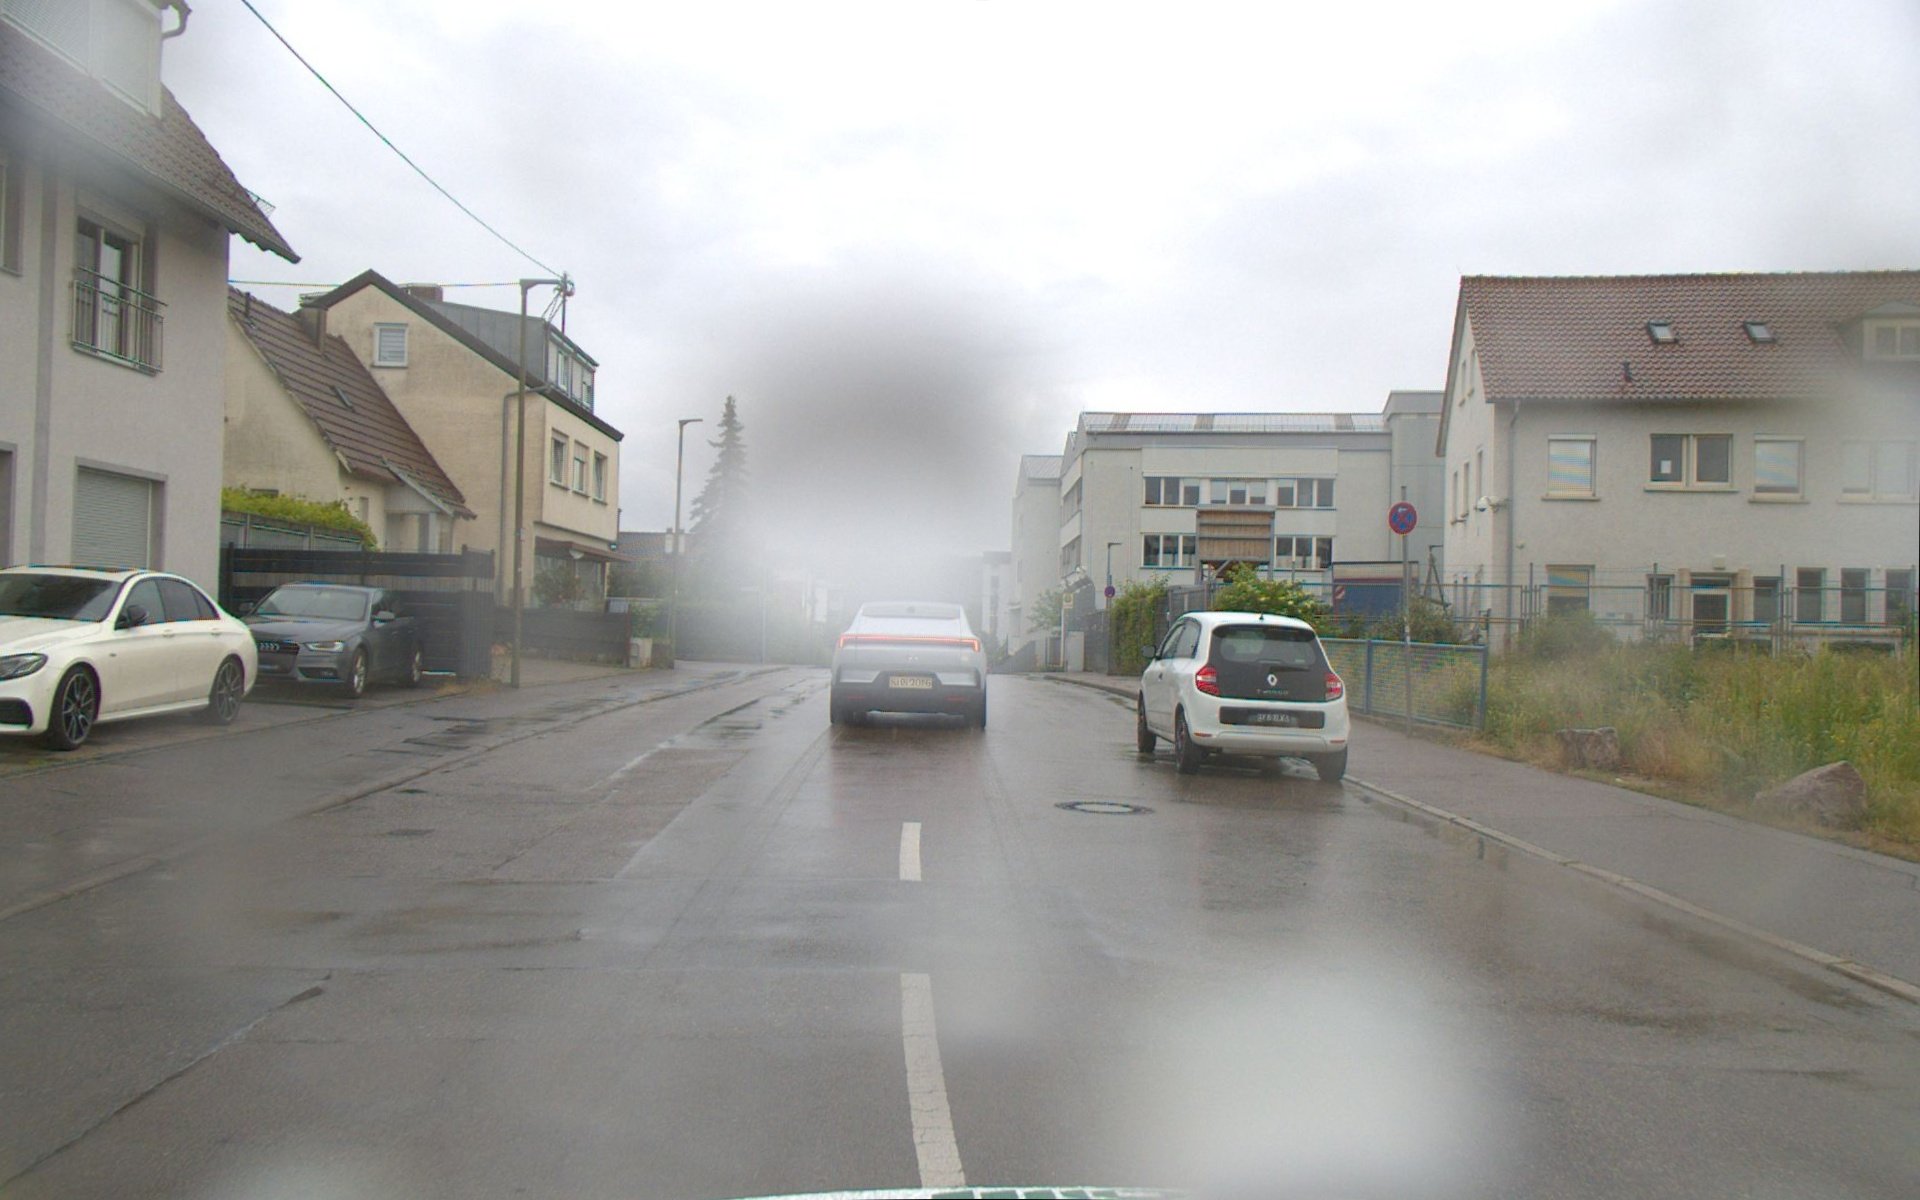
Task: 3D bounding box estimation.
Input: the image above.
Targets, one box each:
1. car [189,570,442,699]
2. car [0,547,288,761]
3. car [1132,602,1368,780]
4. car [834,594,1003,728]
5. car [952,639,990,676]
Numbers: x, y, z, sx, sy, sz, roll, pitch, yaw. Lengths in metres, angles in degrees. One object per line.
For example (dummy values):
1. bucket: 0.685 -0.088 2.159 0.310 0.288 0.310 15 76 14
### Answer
1. car: -8.328 0.402 21.827 1.791 1.392 4.565 5 0 -5
2. car: -7.978 0.356 14.759 1.954 1.536 4.894 5 0 -2
3. car: 2.891 0.850 17.209 1.647 1.584 3.673 2 0 -2
4. car: -0.591 0.711 21.832 1.954 1.528 4.667 2 0 -3
5. car: 0.644 3.446 98.506 1.954 2.049 3.995 0 -4 -5
